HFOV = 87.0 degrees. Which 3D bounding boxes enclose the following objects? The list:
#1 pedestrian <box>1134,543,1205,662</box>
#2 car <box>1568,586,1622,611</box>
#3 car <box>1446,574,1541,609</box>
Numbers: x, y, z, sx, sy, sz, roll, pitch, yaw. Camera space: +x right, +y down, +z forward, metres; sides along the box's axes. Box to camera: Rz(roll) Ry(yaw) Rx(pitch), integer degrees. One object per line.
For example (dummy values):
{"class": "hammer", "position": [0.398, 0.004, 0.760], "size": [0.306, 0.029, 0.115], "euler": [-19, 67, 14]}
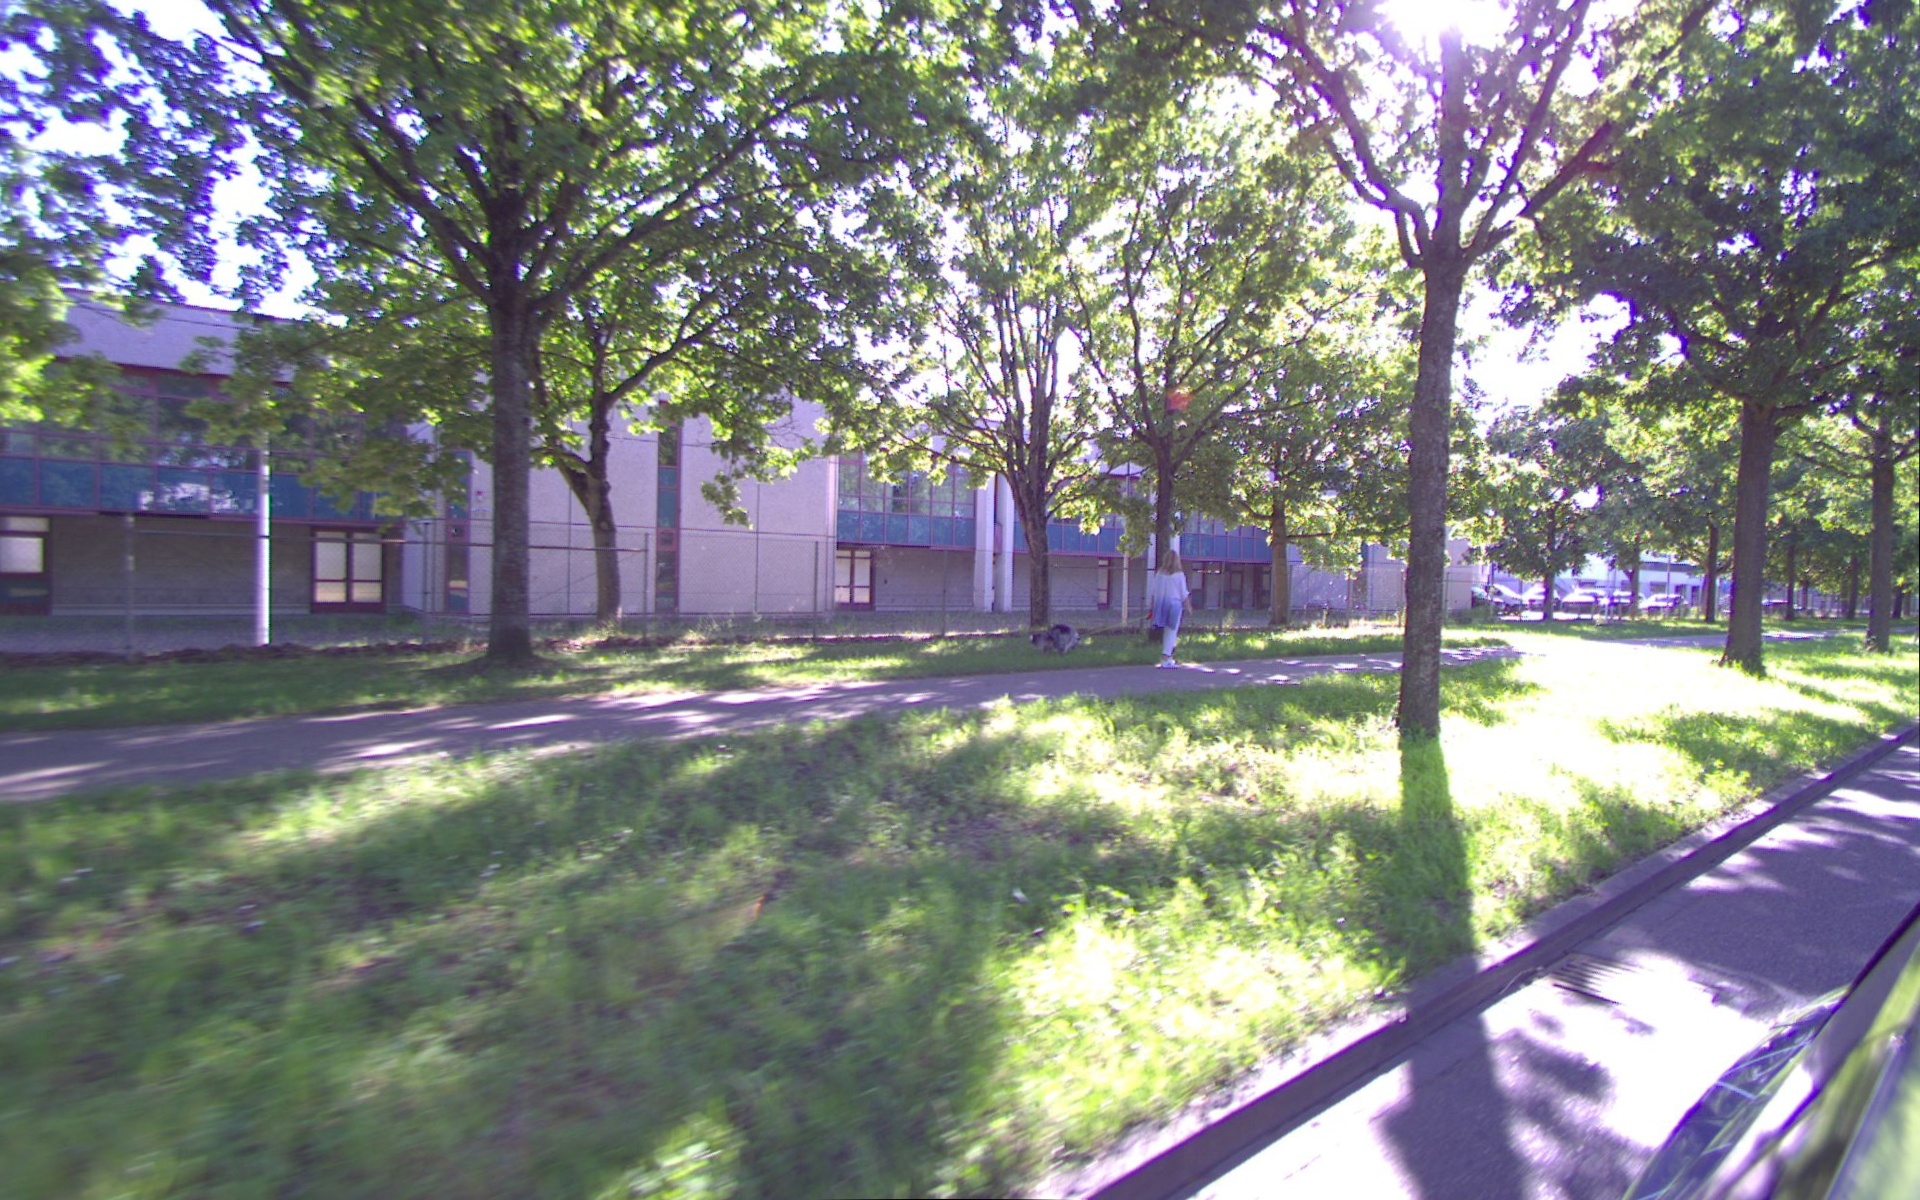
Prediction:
{"class": "pedestrian", "position": [3.033, 0.032, 14.668], "size": [0.706, 1.650, 0.610], "euler": [1, 3, -39]}
{"class": "car", "position": [45.695, -0.142, 72.792], "size": [4.376, 1.694, 1.998], "euler": [0, 2, -39]}
{"class": "car", "position": [34.352, -0.598, 65.303], "size": [1.862, 1.983, 5.073], "euler": [0, 3, -41]}
